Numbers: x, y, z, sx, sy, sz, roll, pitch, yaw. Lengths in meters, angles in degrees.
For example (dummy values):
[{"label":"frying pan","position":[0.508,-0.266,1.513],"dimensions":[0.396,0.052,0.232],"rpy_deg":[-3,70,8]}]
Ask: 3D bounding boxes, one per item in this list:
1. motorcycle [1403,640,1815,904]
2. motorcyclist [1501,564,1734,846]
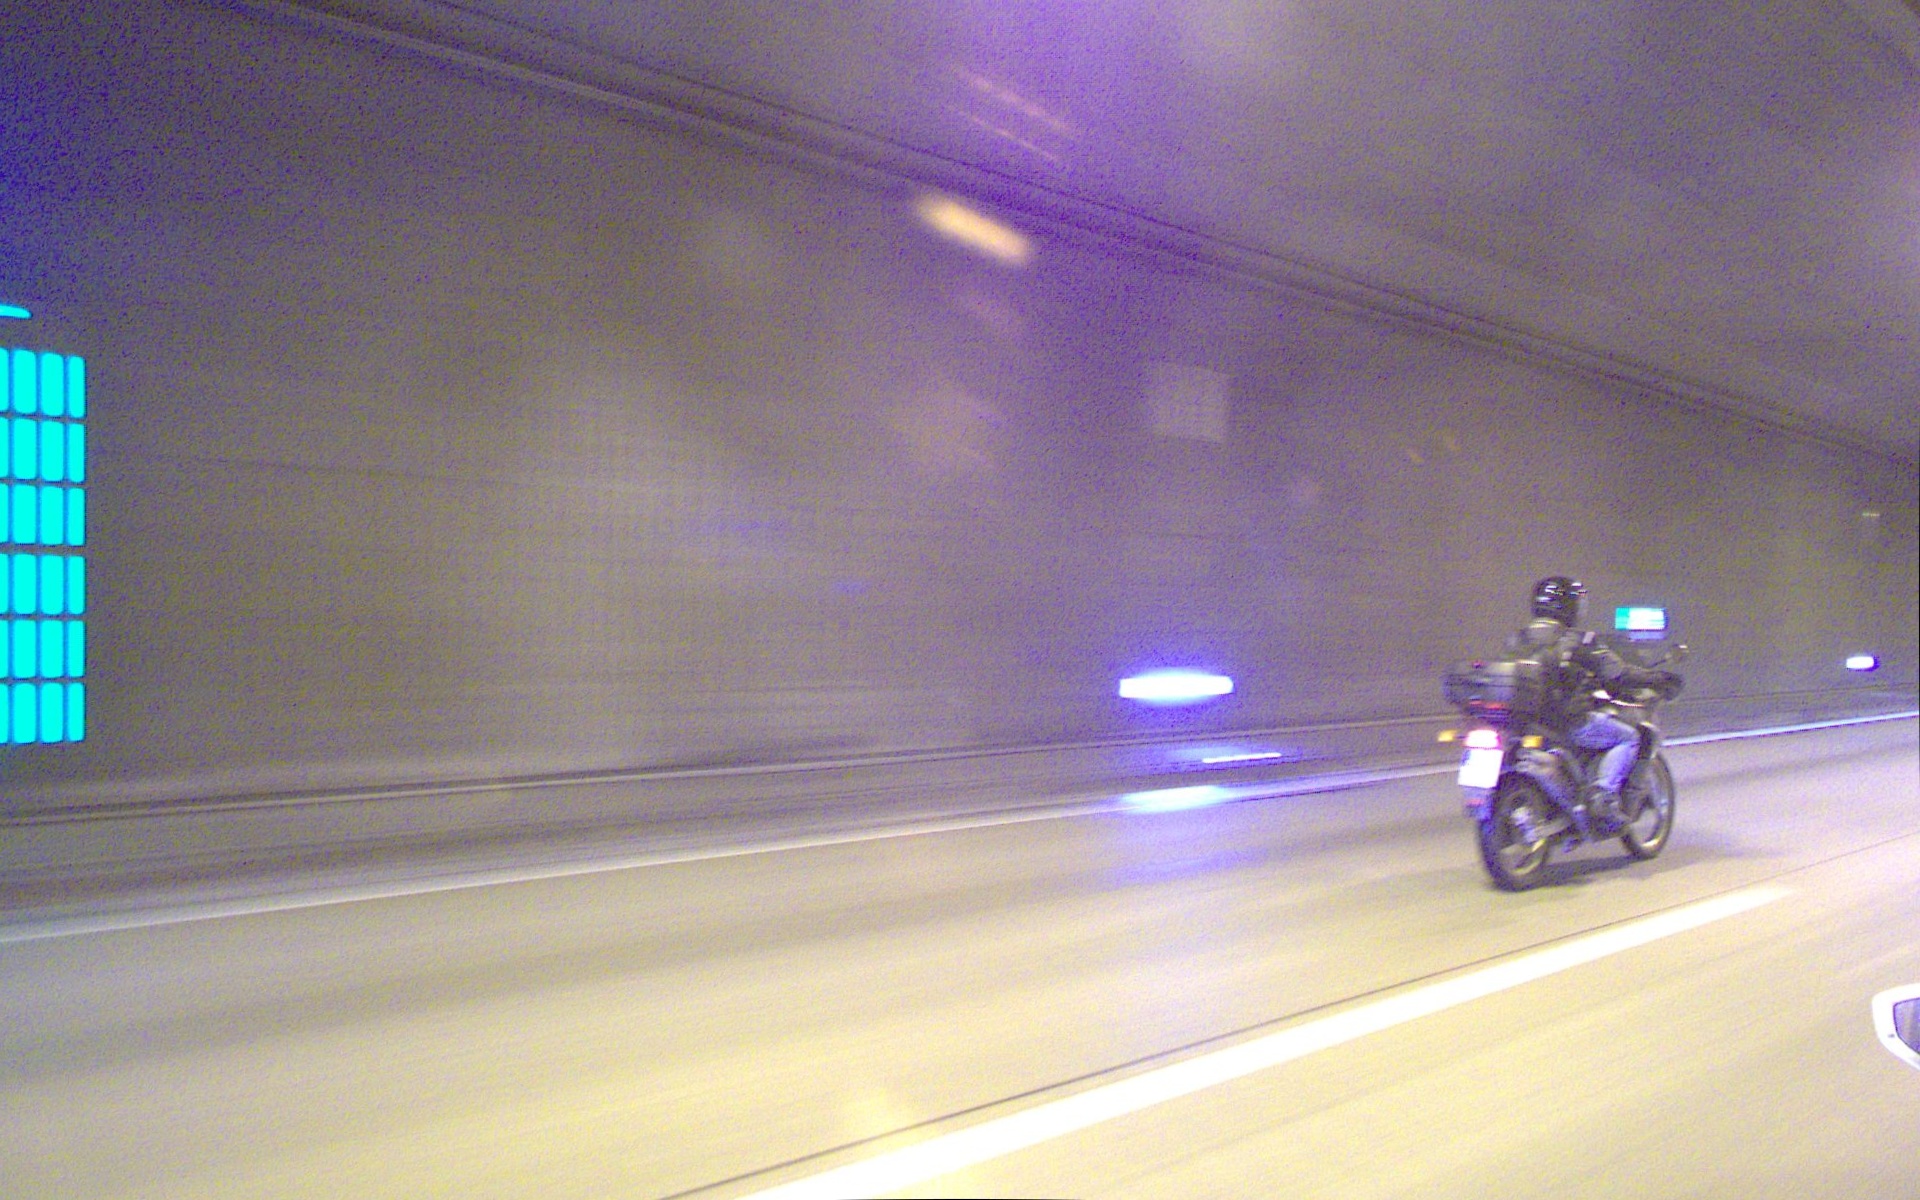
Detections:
[{"label":"motorcycle","position":[3.846,0.886,5.888],"dimensions":[2.571,1.262,0.842],"rpy_deg":[1,0,-27]},{"label":"motorcyclist","position":[3.828,0.561,5.882],"dimensions":[0.811,1.497,0.836],"rpy_deg":[1,0,-28]}]
